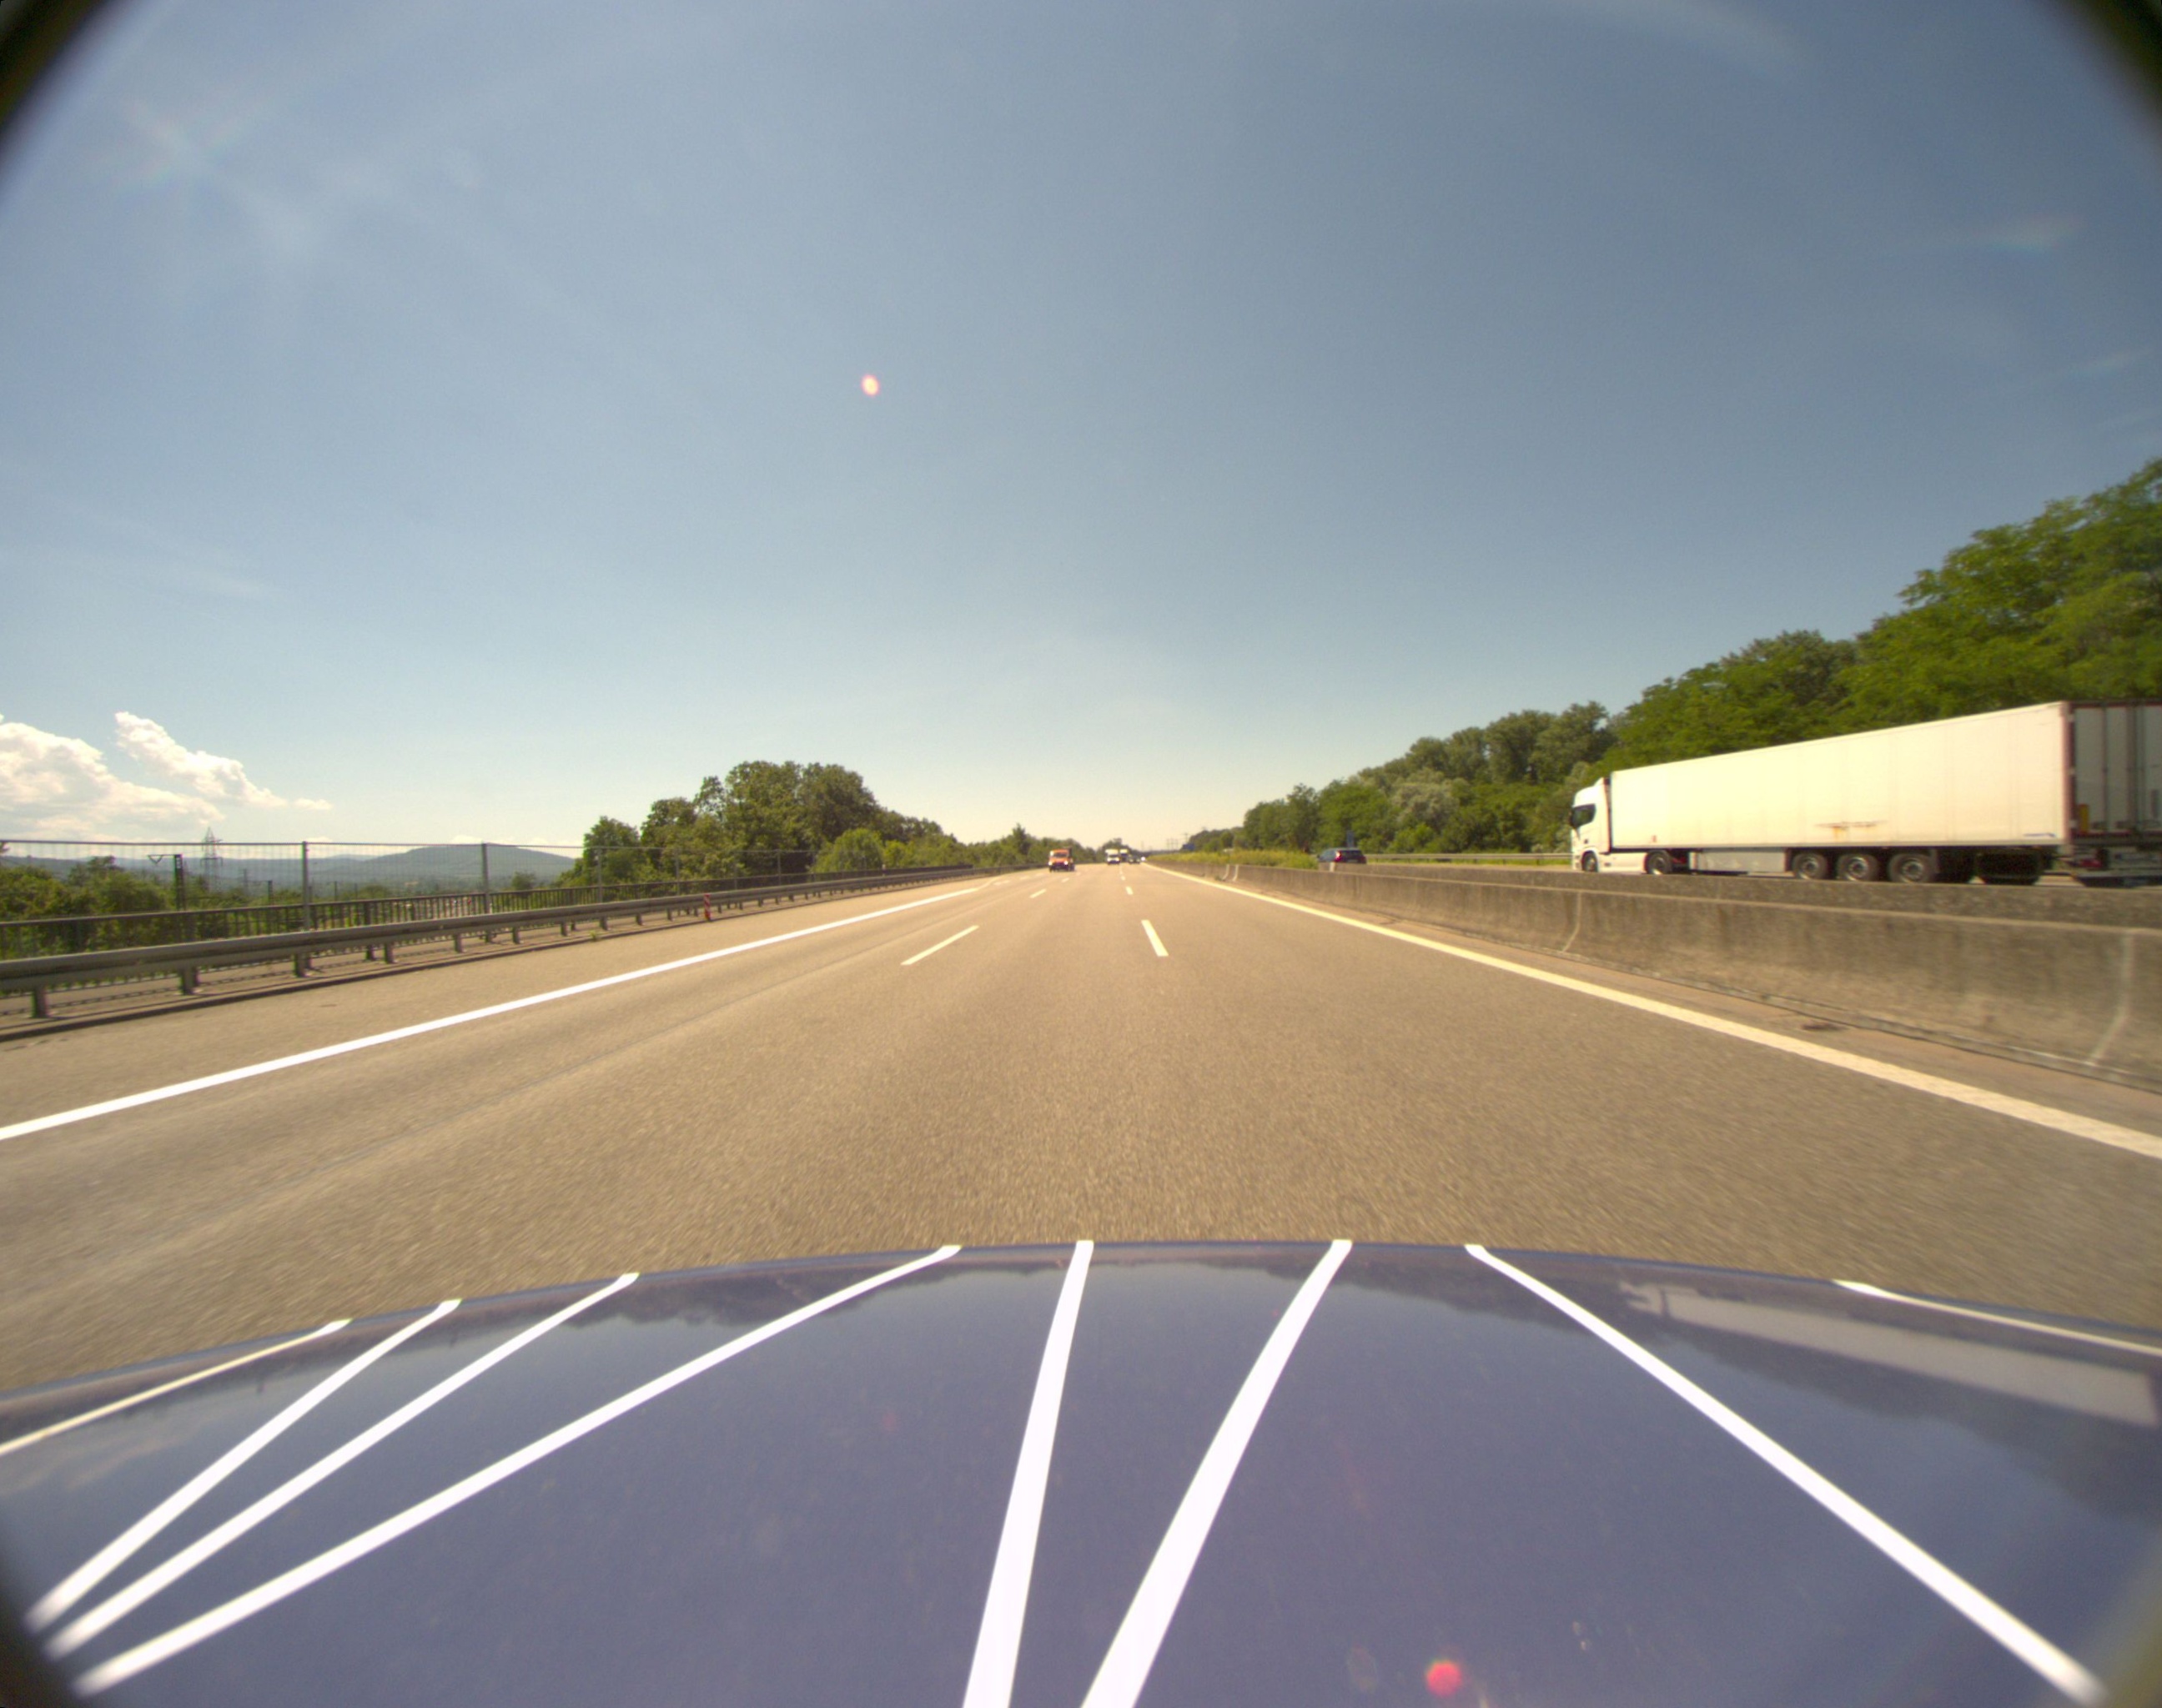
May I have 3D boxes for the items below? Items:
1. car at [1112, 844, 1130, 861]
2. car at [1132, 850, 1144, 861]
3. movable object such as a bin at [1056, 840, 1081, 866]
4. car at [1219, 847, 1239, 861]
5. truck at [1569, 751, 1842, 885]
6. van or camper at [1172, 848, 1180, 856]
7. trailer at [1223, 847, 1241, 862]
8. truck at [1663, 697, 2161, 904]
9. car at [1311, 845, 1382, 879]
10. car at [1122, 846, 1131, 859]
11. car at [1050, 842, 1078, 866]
[{"bbox_3d":[7.215,-0.226,137.402,2.521,2.856,6.404,-5,-1,7],"label":"car"},{"bbox_3d":[10.500,0.282,139.923,1.998,2.002,4.001,-1,1,4],"label":"car"},{"bbox_3d":[-1.414,-0.074,87.960,2.178,2.798,4.764,-2,-1,6],"label":"movable object such as a bin"},{"bbox_3d":[21.604,0.010,111.079,2.129,2.070,4.971,-2,0,3],"label":"car"},{"bbox_3d":[21.482,-1.069,27.044,3.056,3.953,8.289,-2,0,2],"label":"truck"},{"bbox_3d":[30.102,-0.560,241.371,2.255,2.373,6.762,-1,0,6],"label":"van or camper"},{"bbox_3d":[21.444,0.069,107.932,2.107,2.014,2.369,-2,0,2],"label":"trailer"},{"bbox_3d":[21.206,-1.036,20.262,3.056,3.953,11.150,-2,0,2],"label":"truck"},{"bbox_3d":[13.883,0.405,40.096,1.998,1.618,5.015,-2,0,1],"label":"car"},{"bbox_3d":[14.711,-0.578,243.509,2.796,4.089,7.308,-2,0,4],"label":"car"},{"bbox_3d":[-1.803,0.068,81.928,1.998,2.390,7.231,-2,-1,6],"label":"car"}]
